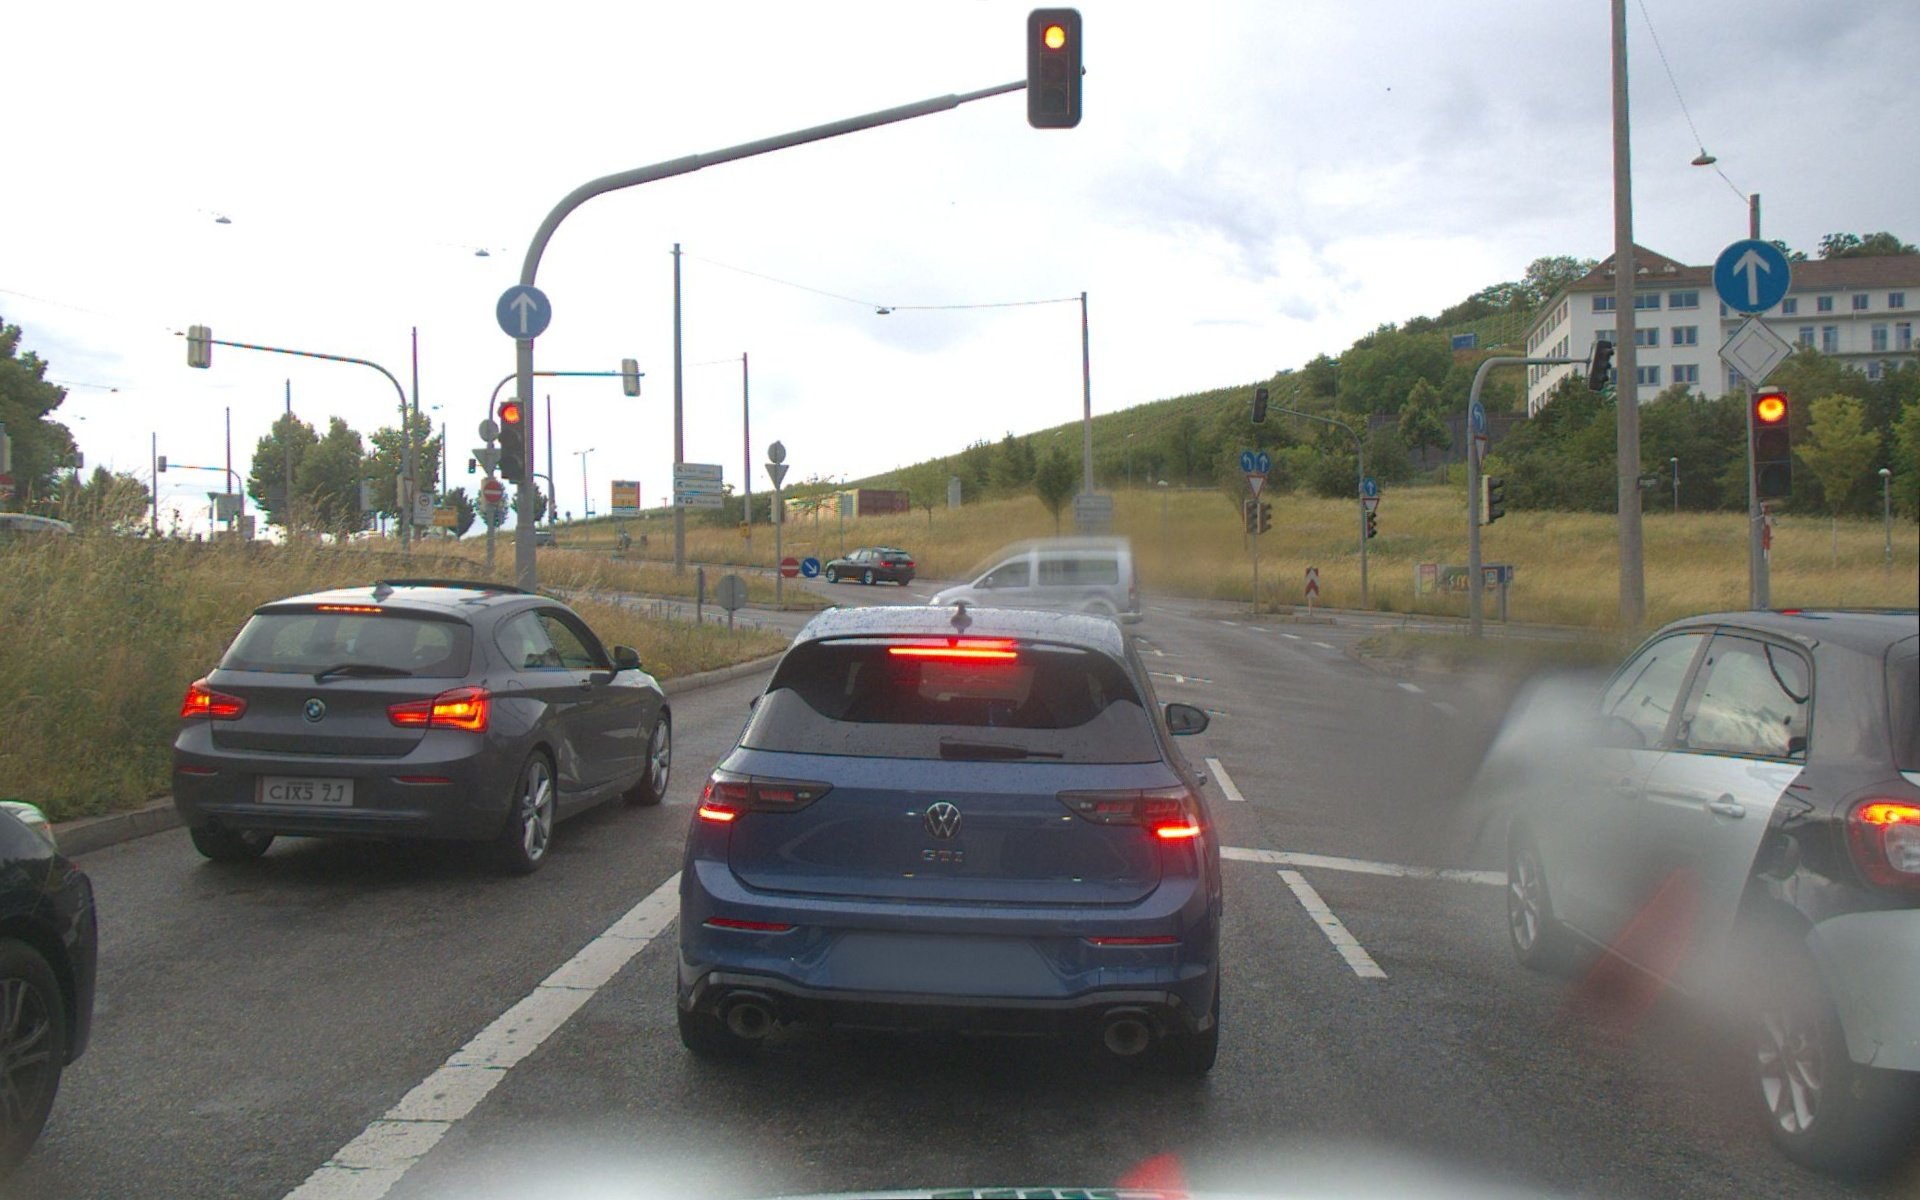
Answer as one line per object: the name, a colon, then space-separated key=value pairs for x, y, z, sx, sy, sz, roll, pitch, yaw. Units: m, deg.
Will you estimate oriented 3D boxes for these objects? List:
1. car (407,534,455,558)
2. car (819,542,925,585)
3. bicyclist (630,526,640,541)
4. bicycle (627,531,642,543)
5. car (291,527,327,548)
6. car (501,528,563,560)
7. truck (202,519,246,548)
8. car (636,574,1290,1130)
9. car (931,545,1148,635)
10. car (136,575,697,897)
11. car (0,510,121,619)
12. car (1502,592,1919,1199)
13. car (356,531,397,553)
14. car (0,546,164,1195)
car: x=-37.521 y=-3.819 z=117.186 sx=1.978 sy=1.503 sz=4.446 roll=1 pitch=-1 yaw=-36
car: x=-3.567 y=-1.471 z=66.409 sx=1.978 sy=1.646 sz=4.790 roll=1 pitch=1 yaw=-36
bicyclist: x=-23.357 y=-4.775 z=118.795 sx=0.518 sy=1.065 sz=0.574 roll=4 pitch=0 yaw=-34
bicycle: x=-23.396 y=-4.537 z=118.846 sx=0.513 sy=0.788 sz=1.602 roll=3 pitch=0 yaw=-33
car: x=-61.191 y=-5.882 z=155.413 sx=2.110 sy=1.825 sz=4.686 roll=3 pitch=0 yaw=-34
car: x=-24.933 y=-3.247 z=96.330 sx=1.979 sy=1.665 sz=4.362 roll=1 pitch=-1 yaw=-37
truck: x=-85.712 y=-7.769 z=192.523 sx=3.234 sy=3.128 sz=6.096 roll=4 pitch=0 yaw=-37
car: x=0.147 y=0.676 z=6.441 sx=1.786 sy=1.486 sz=3.810 roll=1 pitch=0 yaw=4
car: x=1.788 y=-0.247 z=36.475 sx=4.583 sy=1.882 sz=1.823 roll=1 pitch=1 yaw=9
car: x=-2.871 y=0.609 z=9.756 sx=1.667 sy=1.485 sz=4.117 roll=0 pitch=0 yaw=5
car: x=-14.528 y=-0.549 z=25.123 sx=1.700 sy=1.543 sz=3.677 roll=2 pitch=1 yaw=-1
car: x=3.173 y=0.776 z=5.704 sx=1.623 sy=1.529 sz=3.452 roll=1 pitch=-1 yaw=3
car: x=-47.058 y=-4.664 z=133.380 sx=1.977 sy=1.503 sz=4.366 roll=1 pitch=-1 yaw=-35
car: x=-3.072 y=0.605 z=2.659 sx=1.608 sy=1.530 sz=3.779 roll=3 pitch=0 yaw=2
